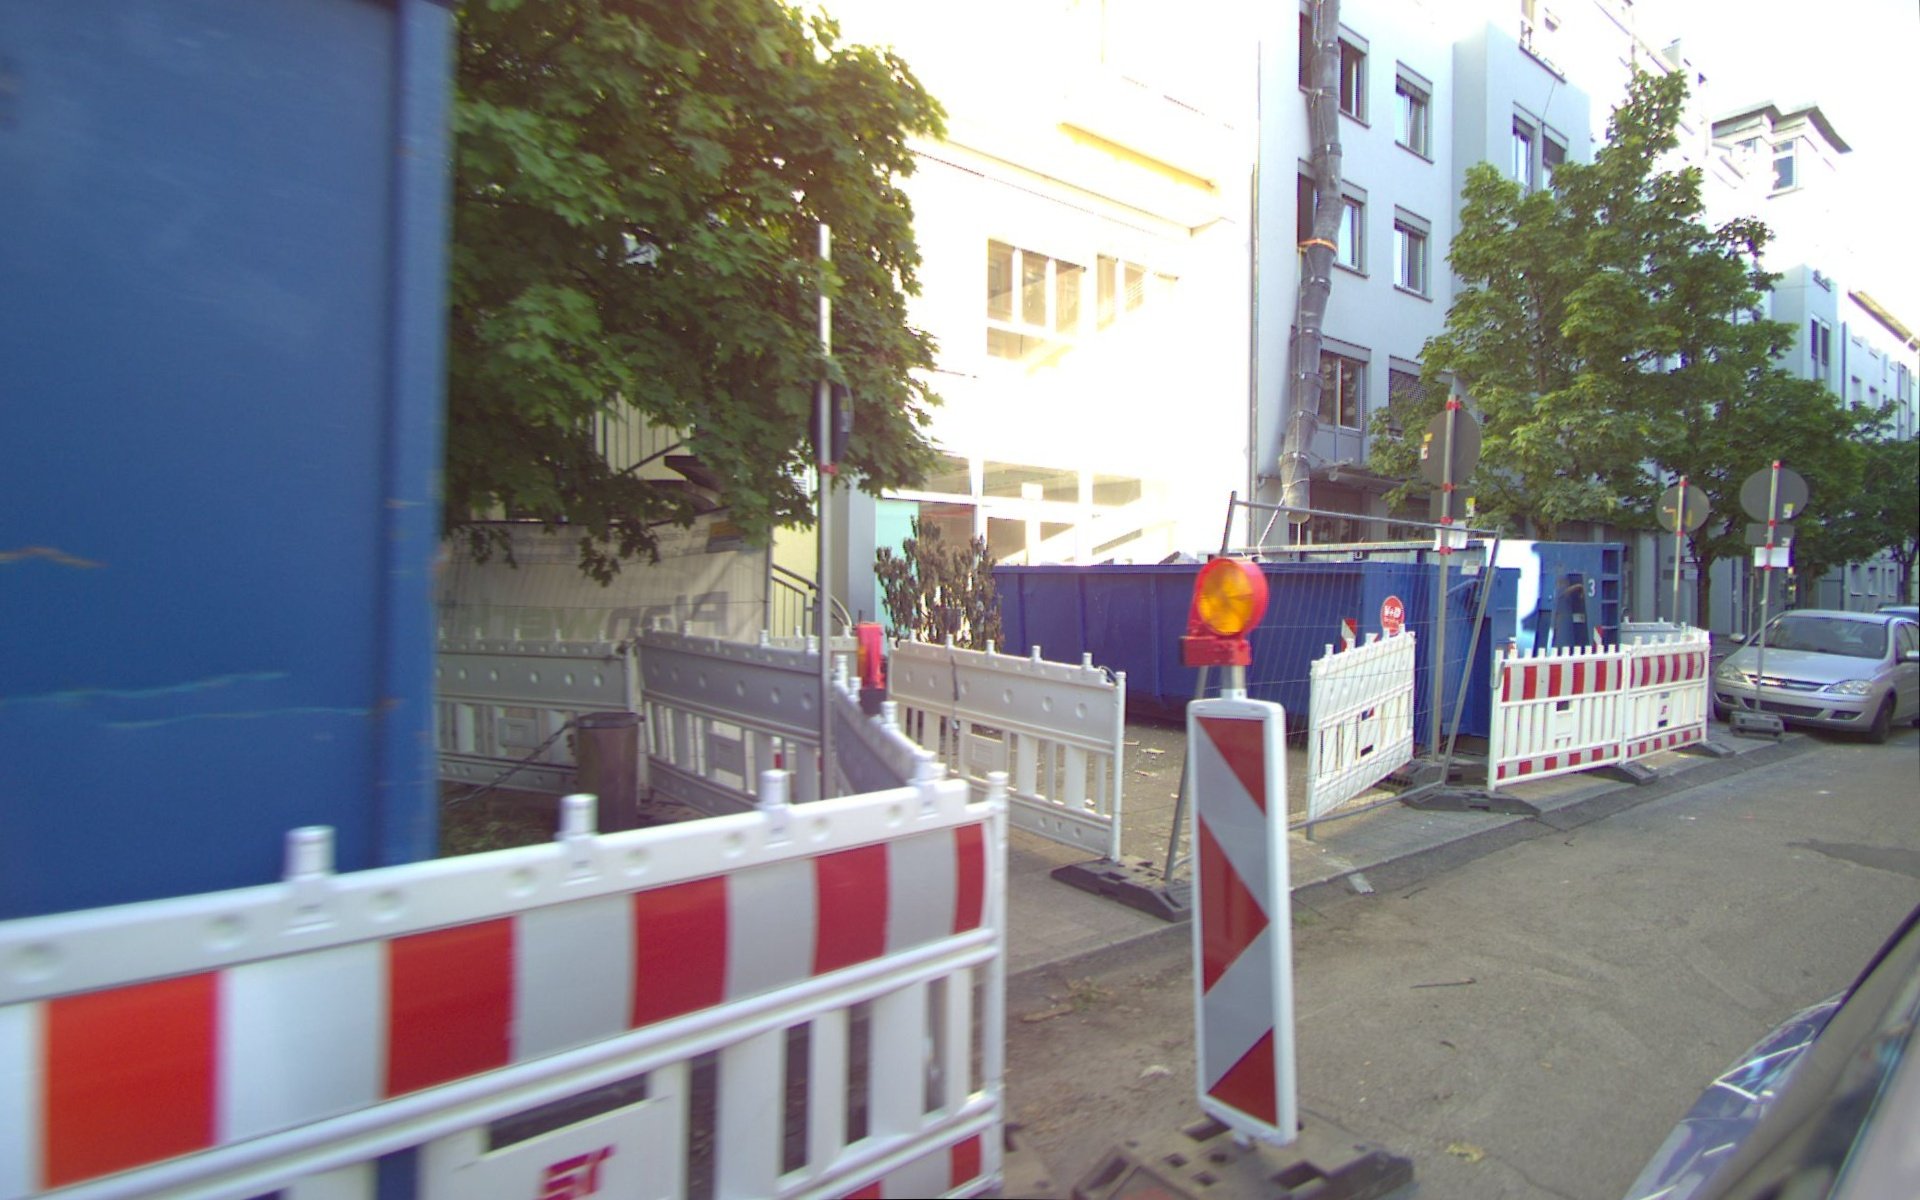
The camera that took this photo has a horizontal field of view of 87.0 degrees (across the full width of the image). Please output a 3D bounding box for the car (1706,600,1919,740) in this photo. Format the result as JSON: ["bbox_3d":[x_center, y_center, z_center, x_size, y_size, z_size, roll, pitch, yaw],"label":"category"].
[{"bbox_3d":[11.045,0.751,12.629,3.990,1.465,1.639,0,0,-36],"label":"car"}]

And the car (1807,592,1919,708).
[{"bbox_3d":[14.670,0.678,15.308,3.924,1.605,1.914,0,0,-35],"label":"car"}]

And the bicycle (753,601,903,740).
[{"bbox_3d":[-1.344,0.669,10.103,1.644,1.284,0.541,-2,-1,42],"label":"bicycle"}]

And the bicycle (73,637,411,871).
[{"bbox_3d":[-3.723,0.761,5.348,1.337,1.083,0.570,-1,-1,-15],"label":"bicycle"}]
